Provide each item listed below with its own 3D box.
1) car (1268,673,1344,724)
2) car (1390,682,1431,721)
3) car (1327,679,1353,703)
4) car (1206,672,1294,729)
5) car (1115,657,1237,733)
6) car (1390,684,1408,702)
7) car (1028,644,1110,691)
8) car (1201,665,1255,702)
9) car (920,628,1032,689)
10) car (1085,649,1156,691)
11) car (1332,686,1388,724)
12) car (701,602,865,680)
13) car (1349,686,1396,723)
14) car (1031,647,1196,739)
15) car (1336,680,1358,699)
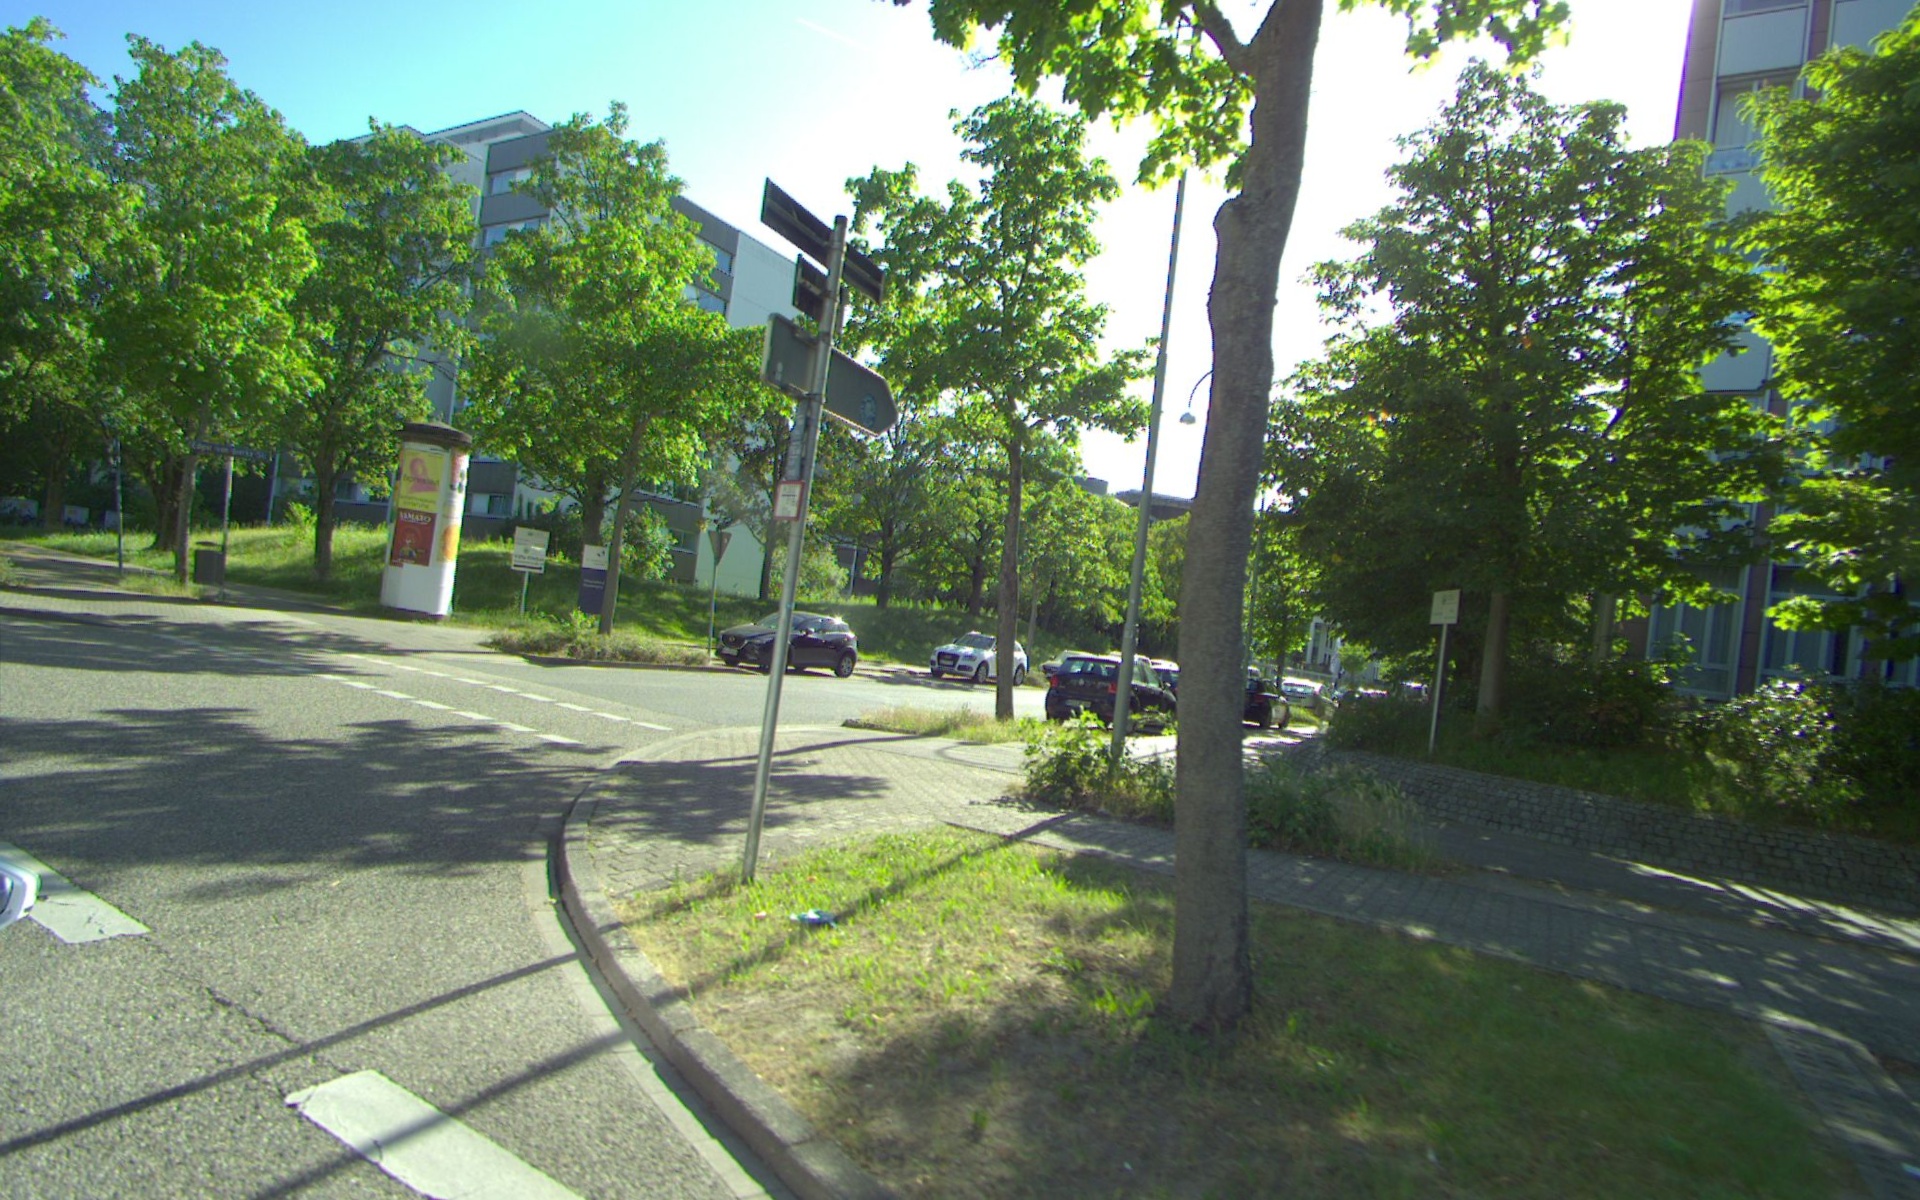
[{"bbox_3d":[12.472,3.556,36.129,1.682,1.510,3.768,6,-3,31],"label":"car"},{"bbox_3d":[29.511,6.674,65.832,1.966,2.205,3.998,6,-2,29],"label":"car"},{"bbox_3d":[36.607,8.786,96.959,1.648,1.954,3.769,6,-3,29],"label":"car"},{"bbox_3d":[8.307,2.872,28.608,1.526,1.319,3.501,6,-3,29],"label":"car"},{"bbox_3d":[5.275,2.311,24.178,1.622,1.485,3.854,6,-3,30],"label":"car"},{"bbox_3d":[58.497,12.367,133.969,1.964,2.036,4.001,7,-2,25],"label":"car"},{"bbox_3d":[4.525,2.806,41.341,1.804,1.518,4.016,6,-3,30],"label":"car"},{"bbox_3d":[16.232,5.063,60.833,1.966,1.820,4.448,6,-3,30],"label":"car"},{"bbox_3d":[0.649,2.063,34.567,1.804,1.637,4.456,6,-3,29],"label":"car"},{"bbox_3d":[7.396,3.230,46.025,1.804,1.561,4.016,6,-3,30],"label":"car"},{"bbox_3d":[18.367,4.828,46.115,1.738,1.440,3.870,6,-3,30],"label":"car"},{"bbox_3d":[-4.367,1.086,25.392,1.803,1.548,3.996,7,-2,30],"label":"car"},{"bbox_3d":[20.674,5.246,50.361,1.618,1.570,3.998,6,-3,29],"label":"car"},{"bbox_3d":[3.154,1.883,19.997,1.741,1.464,3.996,5,-3,31],"label":"car"},{"bbox_3d":[47.158,10.948,122.578,1.964,2.036,4.001,7,-2,25],"label":"car"}]
